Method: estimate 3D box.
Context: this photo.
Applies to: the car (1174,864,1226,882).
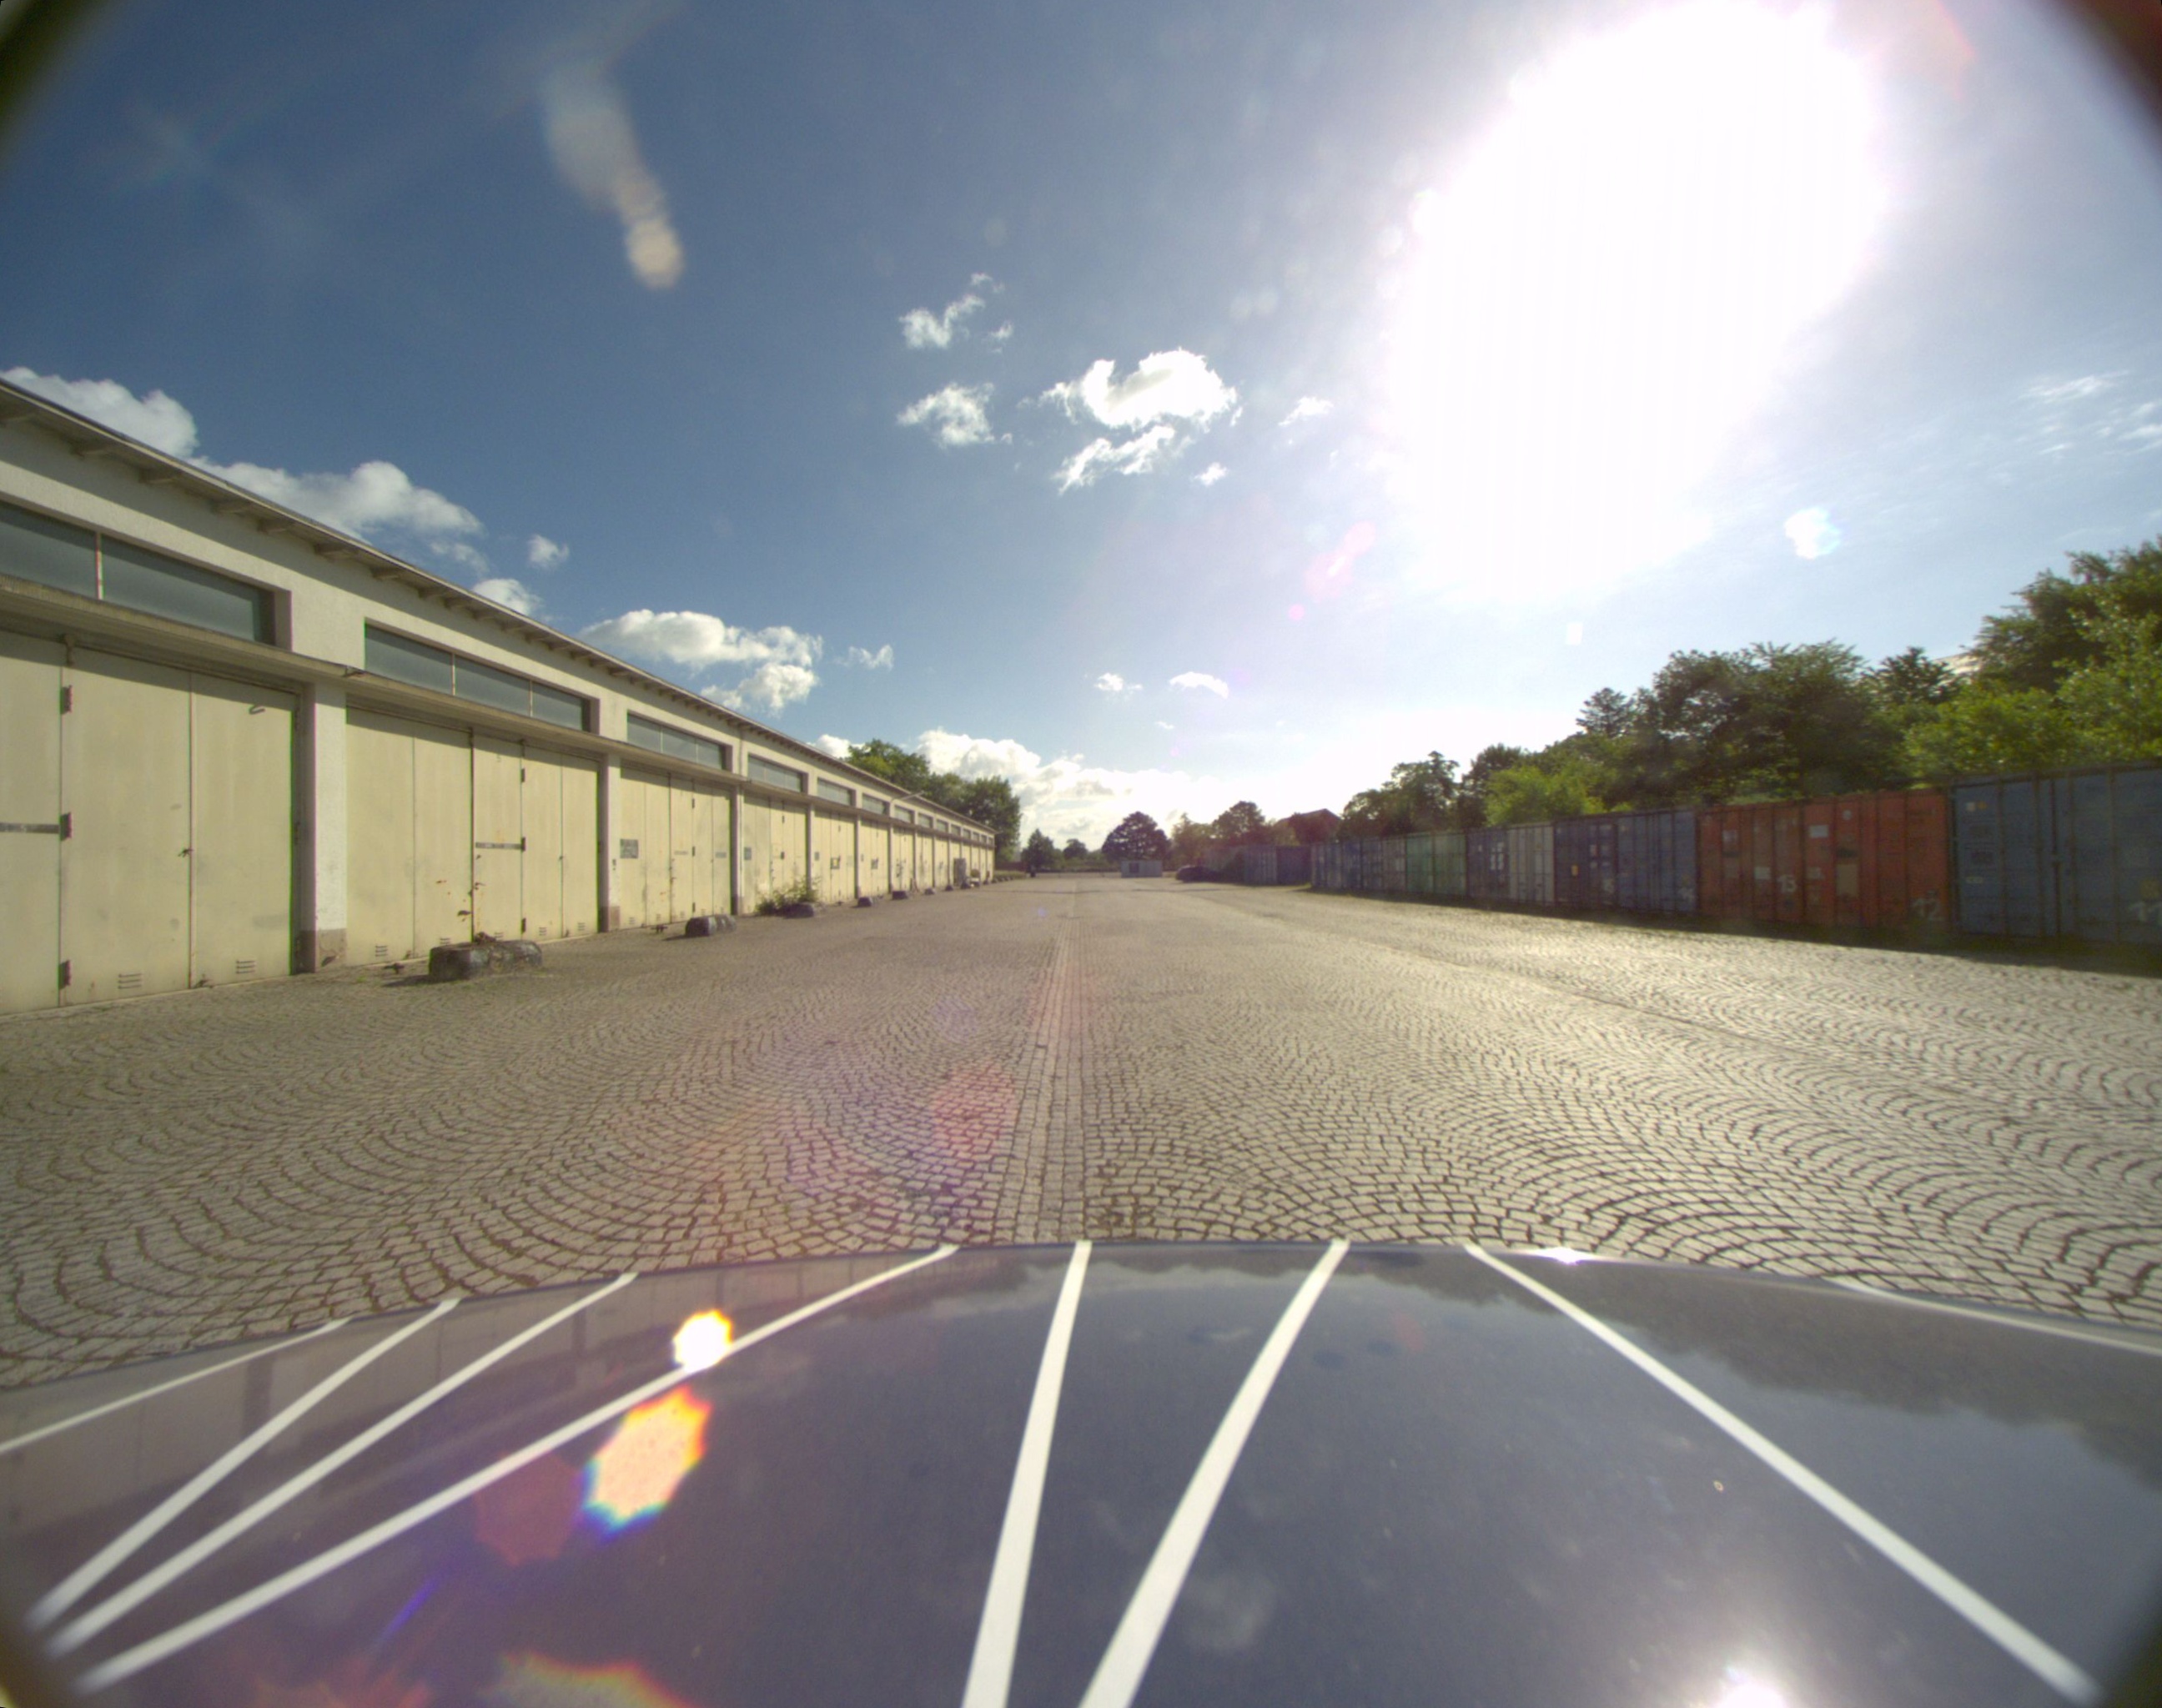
[{"bbox_3d":[10.283,1.629,65.876,4.113,1.289,2.000,-3,0,-2],"label":"car"}]
